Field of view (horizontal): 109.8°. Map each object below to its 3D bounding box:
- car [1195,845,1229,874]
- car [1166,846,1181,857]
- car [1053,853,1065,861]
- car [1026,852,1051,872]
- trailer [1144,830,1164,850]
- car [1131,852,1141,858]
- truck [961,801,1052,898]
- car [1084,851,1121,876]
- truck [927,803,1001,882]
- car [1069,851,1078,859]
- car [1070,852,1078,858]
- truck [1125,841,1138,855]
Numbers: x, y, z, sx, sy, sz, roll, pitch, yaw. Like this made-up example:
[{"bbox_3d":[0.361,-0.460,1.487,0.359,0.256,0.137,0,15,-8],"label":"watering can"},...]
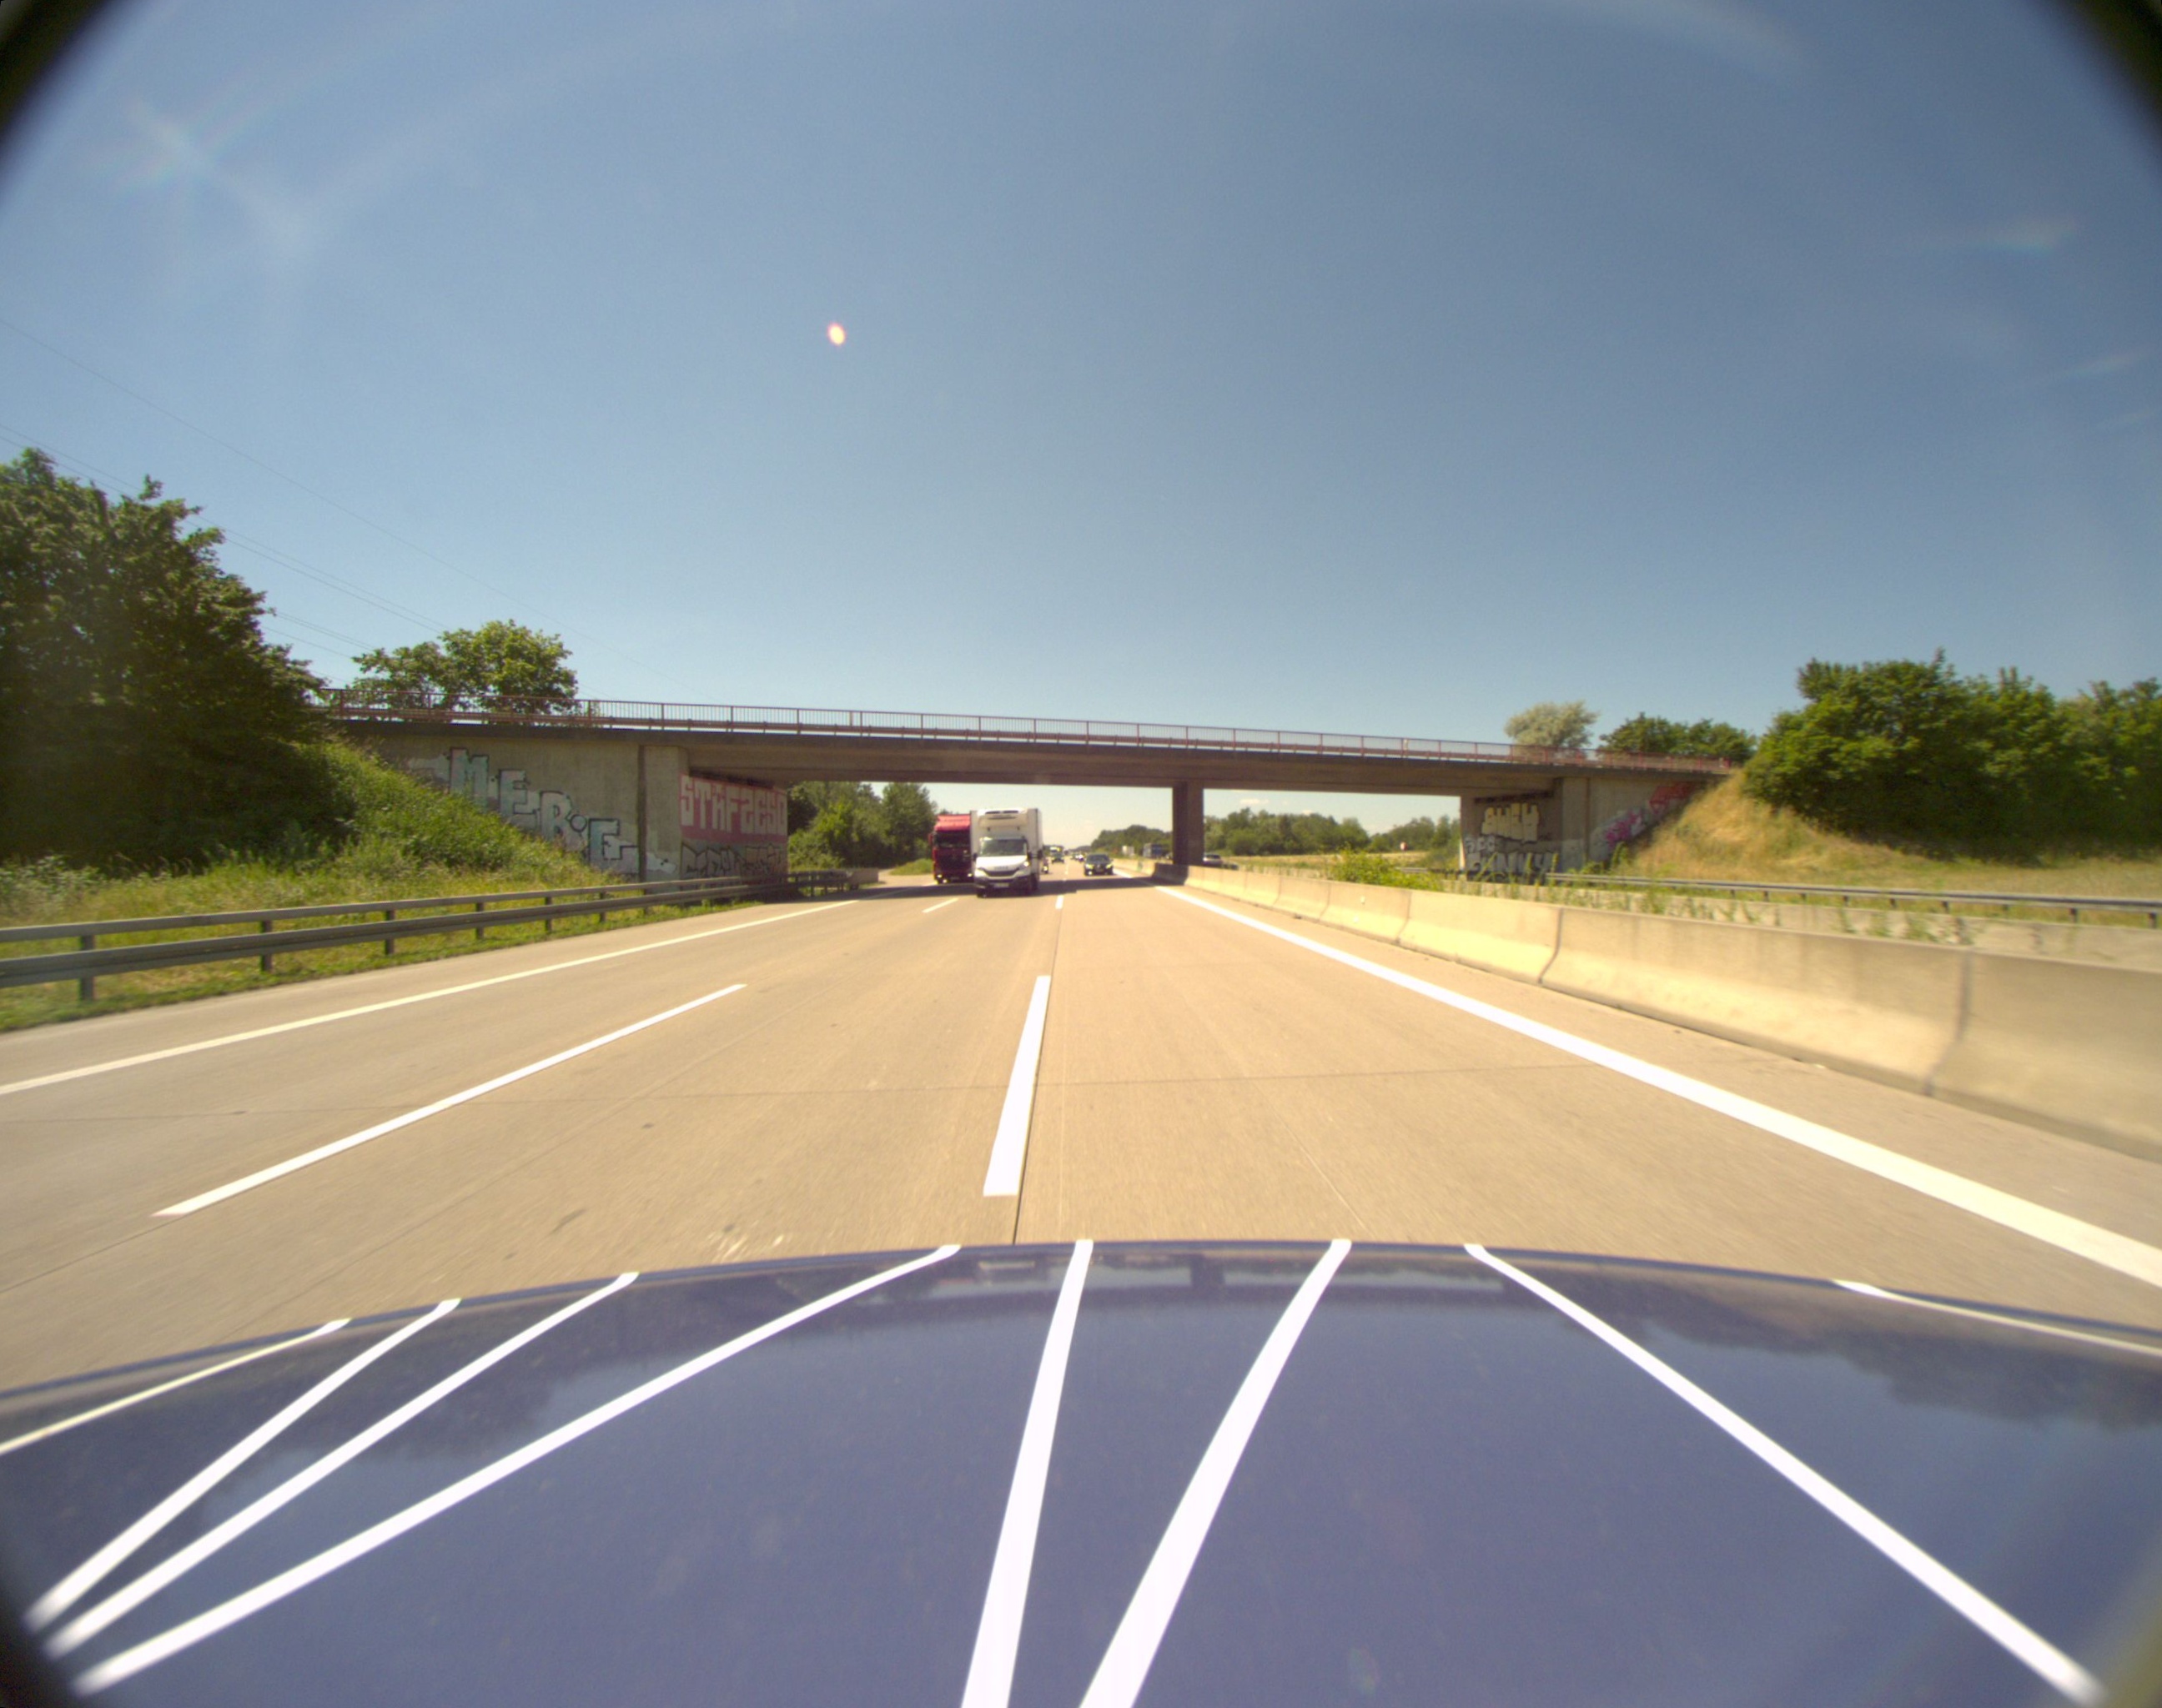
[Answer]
[{"bbox_3d":[9.729,0.367,56.642,1.843,2.002,3.999,-2,1,1],"label":"car"},{"bbox_3d":[13.795,-0.340,113.669,1.771,1.609,3.861,-1,1,-1],"label":"car"},{"bbox_3d":[-3.278,0.477,114.078,1.545,1.098,3.054,-2,1,0],"label":"car"},{"bbox_3d":[-3.218,0.589,58.672,1.671,1.439,3.999,-1,1,0],"label":"car"},{"bbox_3d":[17.067,-3.160,178.129,3.273,4.354,13.499,-2,1,0],"label":"trailer"},{"bbox_3d":[13.082,0.314,181.366,1.819,1.401,4.670,-1,0,-1],"label":"car"},{"bbox_3d":[-2.792,-0.198,30.848,2.784,3.328,7.811,-2,1,0],"label":"truck"},{"bbox_3d":[1.324,0.566,48.680,1.999,1.462,6.346,0,0,-2],"label":"car"},{"bbox_3d":[-7.105,-0.685,47.812,2.856,4.298,10.884,-2,1,0],"label":"truck"},{"bbox_3d":[-1.392,0.194,147.123,1.558,1.440,3.776,-2,1,1],"label":"car"},{"bbox_3d":[-1.570,0.248,179.177,1.683,1.445,3.563,-2,1,1],"label":"car"},{"bbox_3d":[16.204,-1.958,245.782,3.259,4.354,10.535,-2,1,0],"label":"truck"}]
